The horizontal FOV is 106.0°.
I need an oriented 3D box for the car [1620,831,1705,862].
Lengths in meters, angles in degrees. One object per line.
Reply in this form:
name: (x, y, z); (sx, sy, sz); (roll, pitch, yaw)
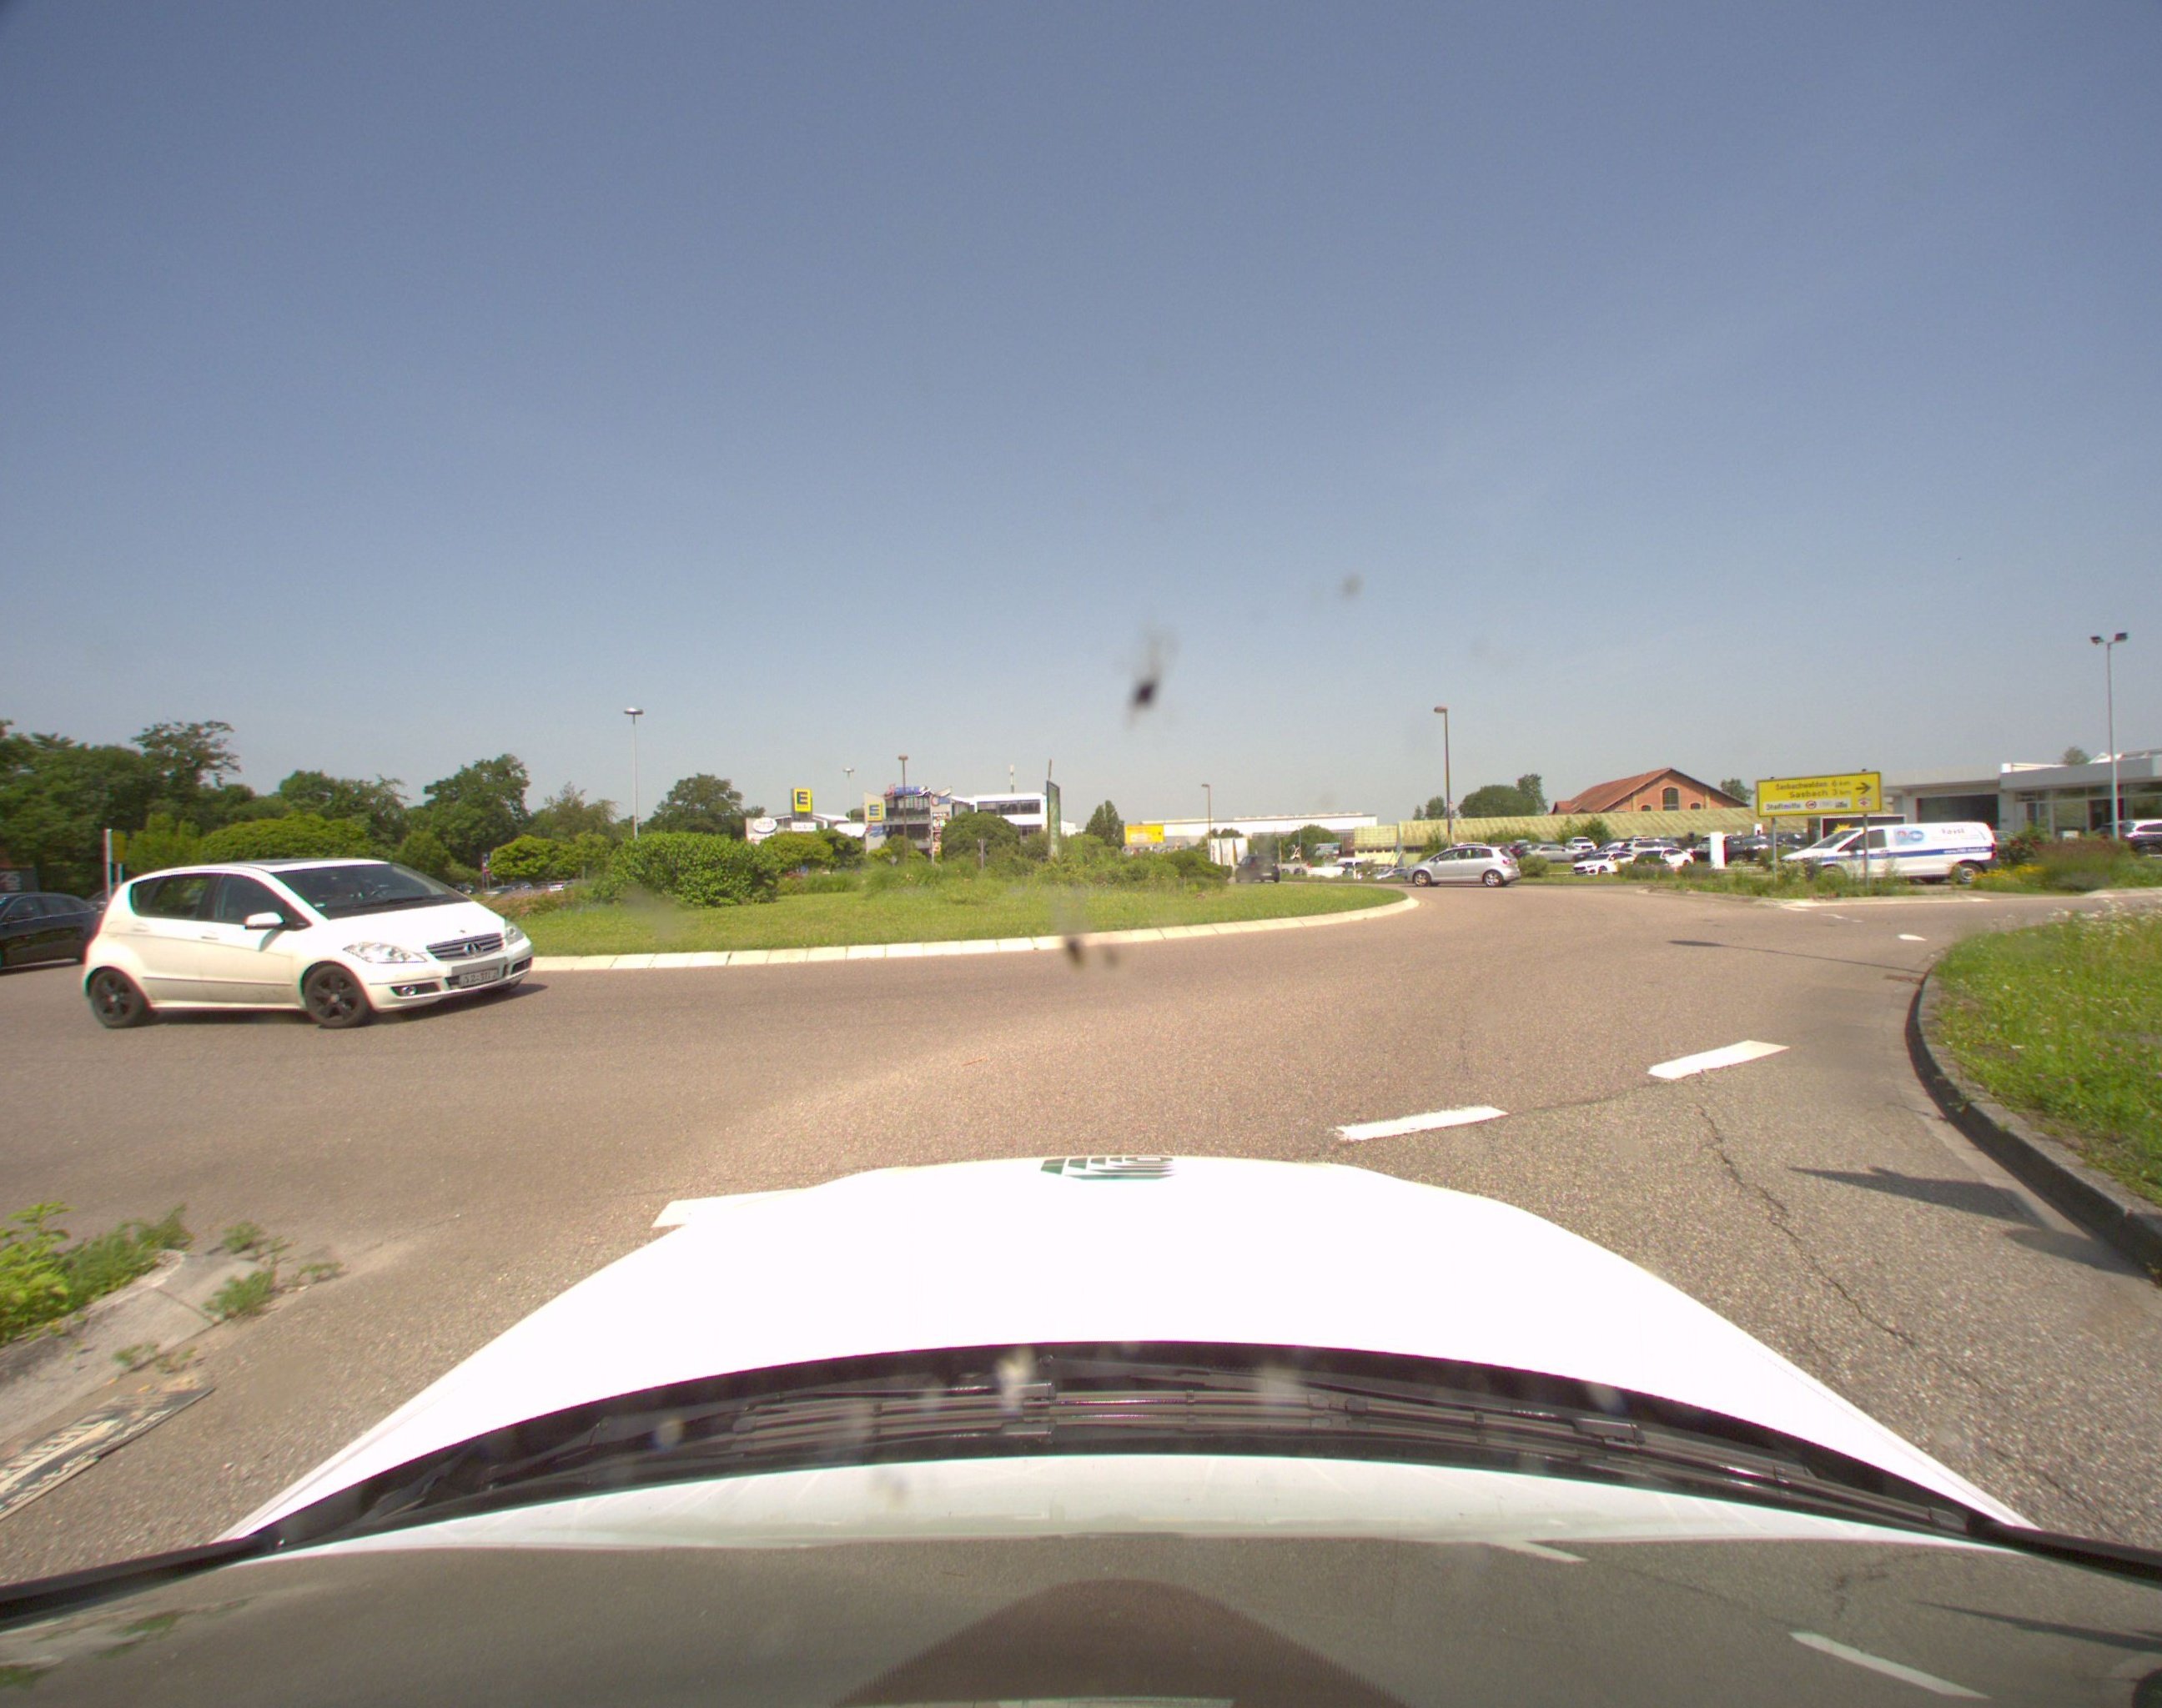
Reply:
car: (37.549, -0.488, 52.688); (3.964, 1.750, 1.958); (-4, -1, 17)

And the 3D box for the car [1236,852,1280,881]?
car: (9.642, 0.683, 44.514); (1.771, 1.530, 4.004); (0, -1, 4)

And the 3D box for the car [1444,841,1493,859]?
car: (35.758, -0.343, 75.272); (3.845, 1.532, 1.776); (-2, -1, 17)

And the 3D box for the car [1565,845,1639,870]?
car: (35.572, 0.243, 55.719); (3.960, 1.526, 1.960); (-2, 0, 23)

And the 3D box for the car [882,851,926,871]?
car: (-15.168, 0.621, 69.875); (3.286, 1.574, 1.563); (-2, -2, 17)

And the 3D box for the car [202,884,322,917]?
car: (-42.997, 2.427, 42.935); (1.865, 1.561, 4.404); (0, -1, -1)

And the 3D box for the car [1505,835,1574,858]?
car: (36.074, -0.565, 64.171); (4.418, 1.635, 1.958); (-2, -1, 17)

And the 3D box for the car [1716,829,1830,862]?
car: (38.780, -0.448, 45.770); (4.377, 1.500, 1.958); (-5, -2, 17)

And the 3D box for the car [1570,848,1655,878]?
car: (32.383, 0.561, 49.651); (4.574, 1.570, 1.758); (-2, -2, -17)

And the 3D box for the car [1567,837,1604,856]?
car: (46.349, -0.686, 74.909); (1.901, 1.596, 4.325); (-2, -1, 19)

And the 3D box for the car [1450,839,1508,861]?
car: (35.553, -0.349, 72.871); (4.418, 1.747, 1.847); (-2, -1, 17)

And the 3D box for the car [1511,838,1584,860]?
car: (35.395, -0.389, 61.891); (4.418, 1.500, 1.958); (-2, 0, 17)

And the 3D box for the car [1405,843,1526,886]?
car: (14.811, 0.427, 31.439); (4.033, 1.530, 1.796); (-1, -2, 32)

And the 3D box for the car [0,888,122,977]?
car: (-20.730, 1.527, 15.259); (1.760, 1.530, 4.181); (-4, 1, -22)

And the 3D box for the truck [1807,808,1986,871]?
truck: (38.304, -0.655, 38.477); (5.559, 2.665, 1.960); (-2, 0, 22)

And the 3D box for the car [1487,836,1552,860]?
car: (36.118, -0.494, 67.185); (4.418, 1.747, 1.958); (-2, -1, 17)

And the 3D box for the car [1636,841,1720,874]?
car: (35.088, 0.226, 47.868); (4.671, 1.570, 1.755); (-4, 0, -23)

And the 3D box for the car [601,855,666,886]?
car: (-29.735, 1.098, 54.270); (1.677, 2.014, 4.010); (-1, -1, 9)

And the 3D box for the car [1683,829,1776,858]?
car: (39.436, -0.654, 49.644); (3.964, 1.500, 1.958); (-4, 0, 17)

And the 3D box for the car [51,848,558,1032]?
car: (-7.852, 0.781, 8.418); (3.856, 1.603, 1.792); (-1, 1, 10)

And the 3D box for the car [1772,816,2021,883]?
car: (25.241, -0.081, 25.488); (5.167, 1.938, 1.871); (-1, -1, 22)
